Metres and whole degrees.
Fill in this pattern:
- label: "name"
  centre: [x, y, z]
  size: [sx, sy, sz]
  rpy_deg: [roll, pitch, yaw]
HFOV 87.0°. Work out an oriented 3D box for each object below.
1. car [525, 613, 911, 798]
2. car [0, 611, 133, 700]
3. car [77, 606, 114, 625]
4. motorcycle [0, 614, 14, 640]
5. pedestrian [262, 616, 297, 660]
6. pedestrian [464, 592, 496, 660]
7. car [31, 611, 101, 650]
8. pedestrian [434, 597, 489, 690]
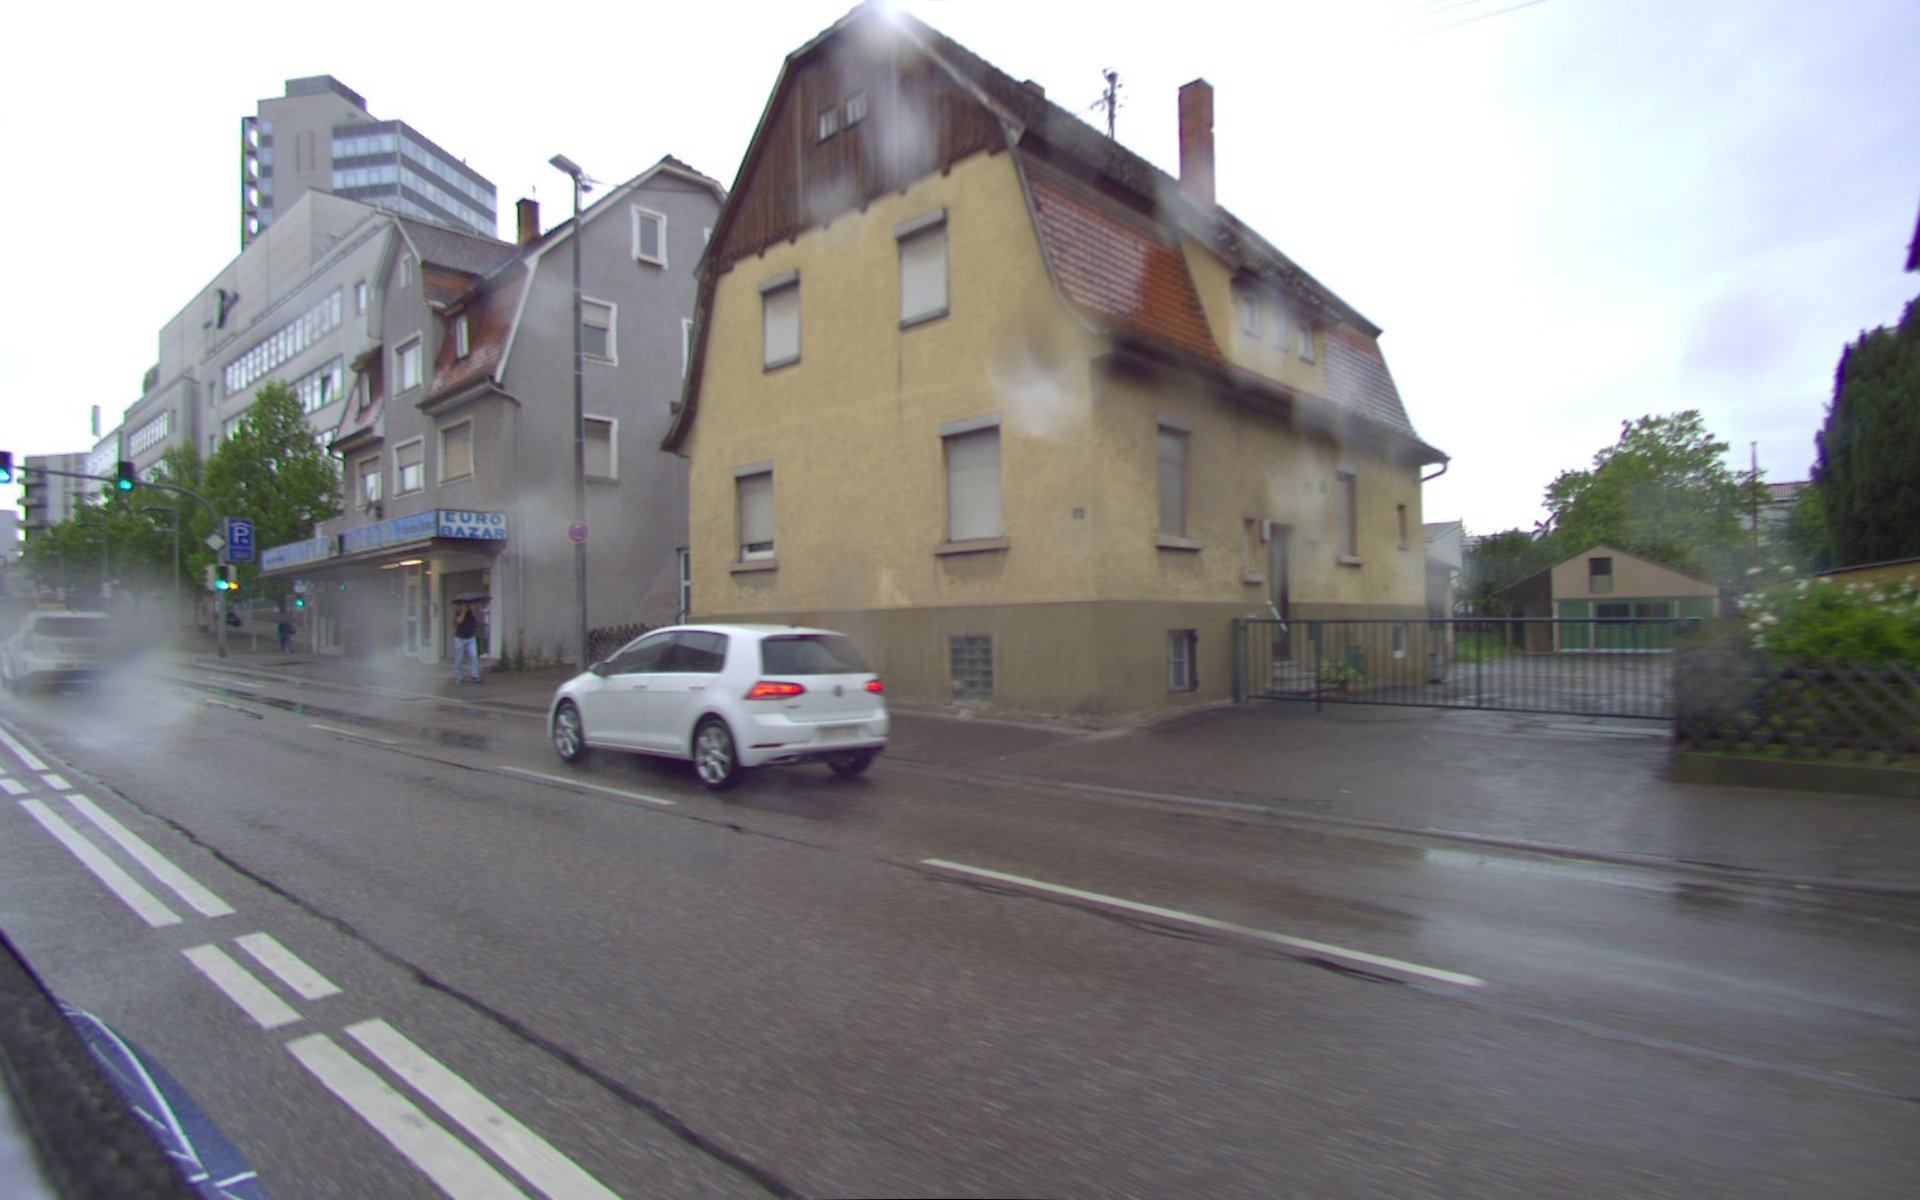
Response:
- label: "car"
  centre: [-2.539, 0.899, 10.038]
  size: [4.138, 1.428, 1.631]
  rpy_deg: [0, -3, 42]
- label: "car"
  centre: [-18.918, 1.063, 21.065]
  size: [4.716, 1.621, 1.859]
  rpy_deg: [0, -1, 41]
- label: "car"
  centre: [-68.771, 1.227, 80.492]
  size: [3.729, 1.421, 1.734]
  rpy_deg: [0, -1, 42]
- label: "motorcycle"
  centre: [-49.545, 1.380, 52.205]
  size: [2.184, 1.293, 0.898]
  rpy_deg: [0, -1, 42]
- label: "pedestrian"
  centre: [-28.831, 1.594, 42.882]
  size: [1.233, 1.802, 0.916]
  rpy_deg: [0, -1, 40]
- label: "pedestrian"
  centre: [-11.338, 0.615, 23.906]
  size: [0.446, 1.569, 0.537]
  rpy_deg: [-1, -1, 42]
- label: "car"
  centre: [-39.648, 1.323, 44.849]
  size: [4.950, 1.630, 1.978]
  rpy_deg: [0, -1, 45]
- label: "pedestrian"
  centre: [-10.650, 0.910, 21.620]
  size: [0.944, 1.935, 0.656]
  rpy_deg: [0, 1, 34]
